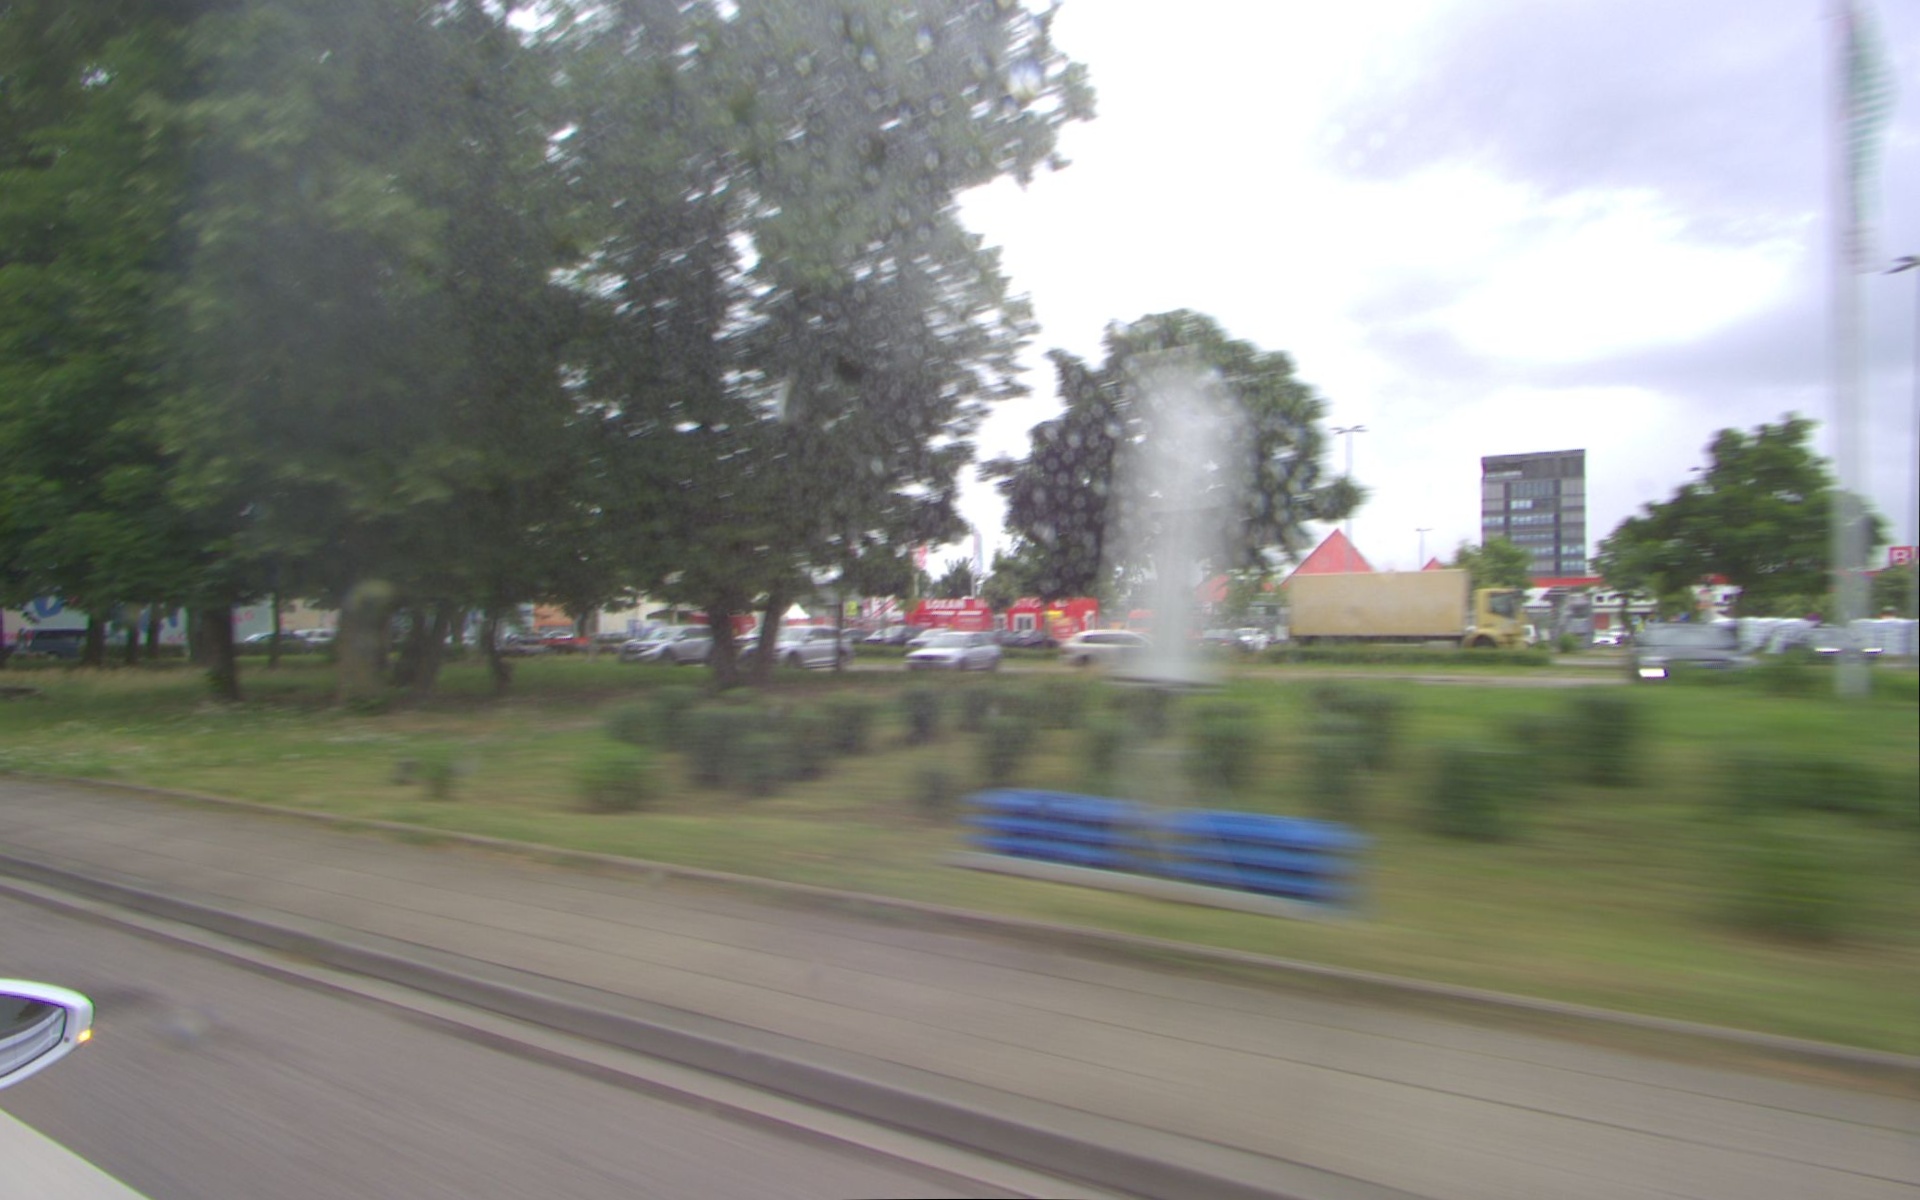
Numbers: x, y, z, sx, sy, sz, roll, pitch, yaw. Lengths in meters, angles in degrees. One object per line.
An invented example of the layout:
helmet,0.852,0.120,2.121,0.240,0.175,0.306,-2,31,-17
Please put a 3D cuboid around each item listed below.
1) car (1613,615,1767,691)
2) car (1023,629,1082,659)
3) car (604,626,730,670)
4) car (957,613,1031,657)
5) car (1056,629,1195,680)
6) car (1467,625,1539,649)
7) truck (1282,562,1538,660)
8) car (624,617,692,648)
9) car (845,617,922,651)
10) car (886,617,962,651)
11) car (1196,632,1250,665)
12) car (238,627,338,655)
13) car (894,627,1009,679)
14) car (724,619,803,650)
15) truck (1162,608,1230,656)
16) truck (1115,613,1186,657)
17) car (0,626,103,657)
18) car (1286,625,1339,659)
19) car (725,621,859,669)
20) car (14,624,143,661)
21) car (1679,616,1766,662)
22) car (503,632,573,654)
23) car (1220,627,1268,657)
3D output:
car,16.049,1.200,22.288,1.900,1.515,4.602,-1,-4,25
car,5.647,2.630,60.442,2.121,1.698,4.553,-1,-1,26
car,-10.750,1.801,37.061,1.928,1.515,4.534,-1,-4,26
car,1.766,1.743,50.496,2.120,2.077,4.554,-1,-1,25
car,5.791,1.931,35.176,4.441,1.691,1.991,-2,-4,32
car,39.122,2.699,72.181,4.441,1.691,1.991,-2,-4,32
truck,17.970,0.592,40.333,9.112,3.607,2.938,-2,-3,30
car,-25.771,2.769,85.577,2.042,2.570,5.736,-1,-1,30
car,-3.976,1.782,52.695,2.120,1.698,4.554,-1,-1,25
car,-1.804,1.742,51.680,2.120,1.698,4.554,-1,-1,25
car,14.635,2.640,55.631,2.120,1.698,4.554,-1,-1,25
car,-39.994,2.419,59.677,2.042,1.592,4.548,-1,-1,30
car,-0.170,1.689,31.561,1.900,1.515,4.447,-1,-4,25
car,-11.089,1.947,56.868,2.120,1.698,4.554,-1,-1,25
truck,15.183,2.015,63.939,2.445,2.852,7.857,-1,-1,27
truck,12.528,2.222,65.297,2.445,2.669,7.857,-1,-1,27
car,-51.989,2.325,56.968,2.052,1.698,4.544,-1,-2,33
car,18.530,2.197,52.842,2.115,1.698,4.565,-1,-1,13
car,-5.665,1.595,34.444,2.137,1.515,4.674,-1,-4,28
car,-44.985,2.140,51.186,2.042,1.813,4.549,0,-1,30
car,27.229,1.371,35.915,1.958,1.526,4.547,-1,-2,31
car,-31.583,3.203,75.003,2.042,1.592,4.548,-1,-1,30
car,17.194,2.511,60.518,2.120,1.698,4.554,-1,-1,25
